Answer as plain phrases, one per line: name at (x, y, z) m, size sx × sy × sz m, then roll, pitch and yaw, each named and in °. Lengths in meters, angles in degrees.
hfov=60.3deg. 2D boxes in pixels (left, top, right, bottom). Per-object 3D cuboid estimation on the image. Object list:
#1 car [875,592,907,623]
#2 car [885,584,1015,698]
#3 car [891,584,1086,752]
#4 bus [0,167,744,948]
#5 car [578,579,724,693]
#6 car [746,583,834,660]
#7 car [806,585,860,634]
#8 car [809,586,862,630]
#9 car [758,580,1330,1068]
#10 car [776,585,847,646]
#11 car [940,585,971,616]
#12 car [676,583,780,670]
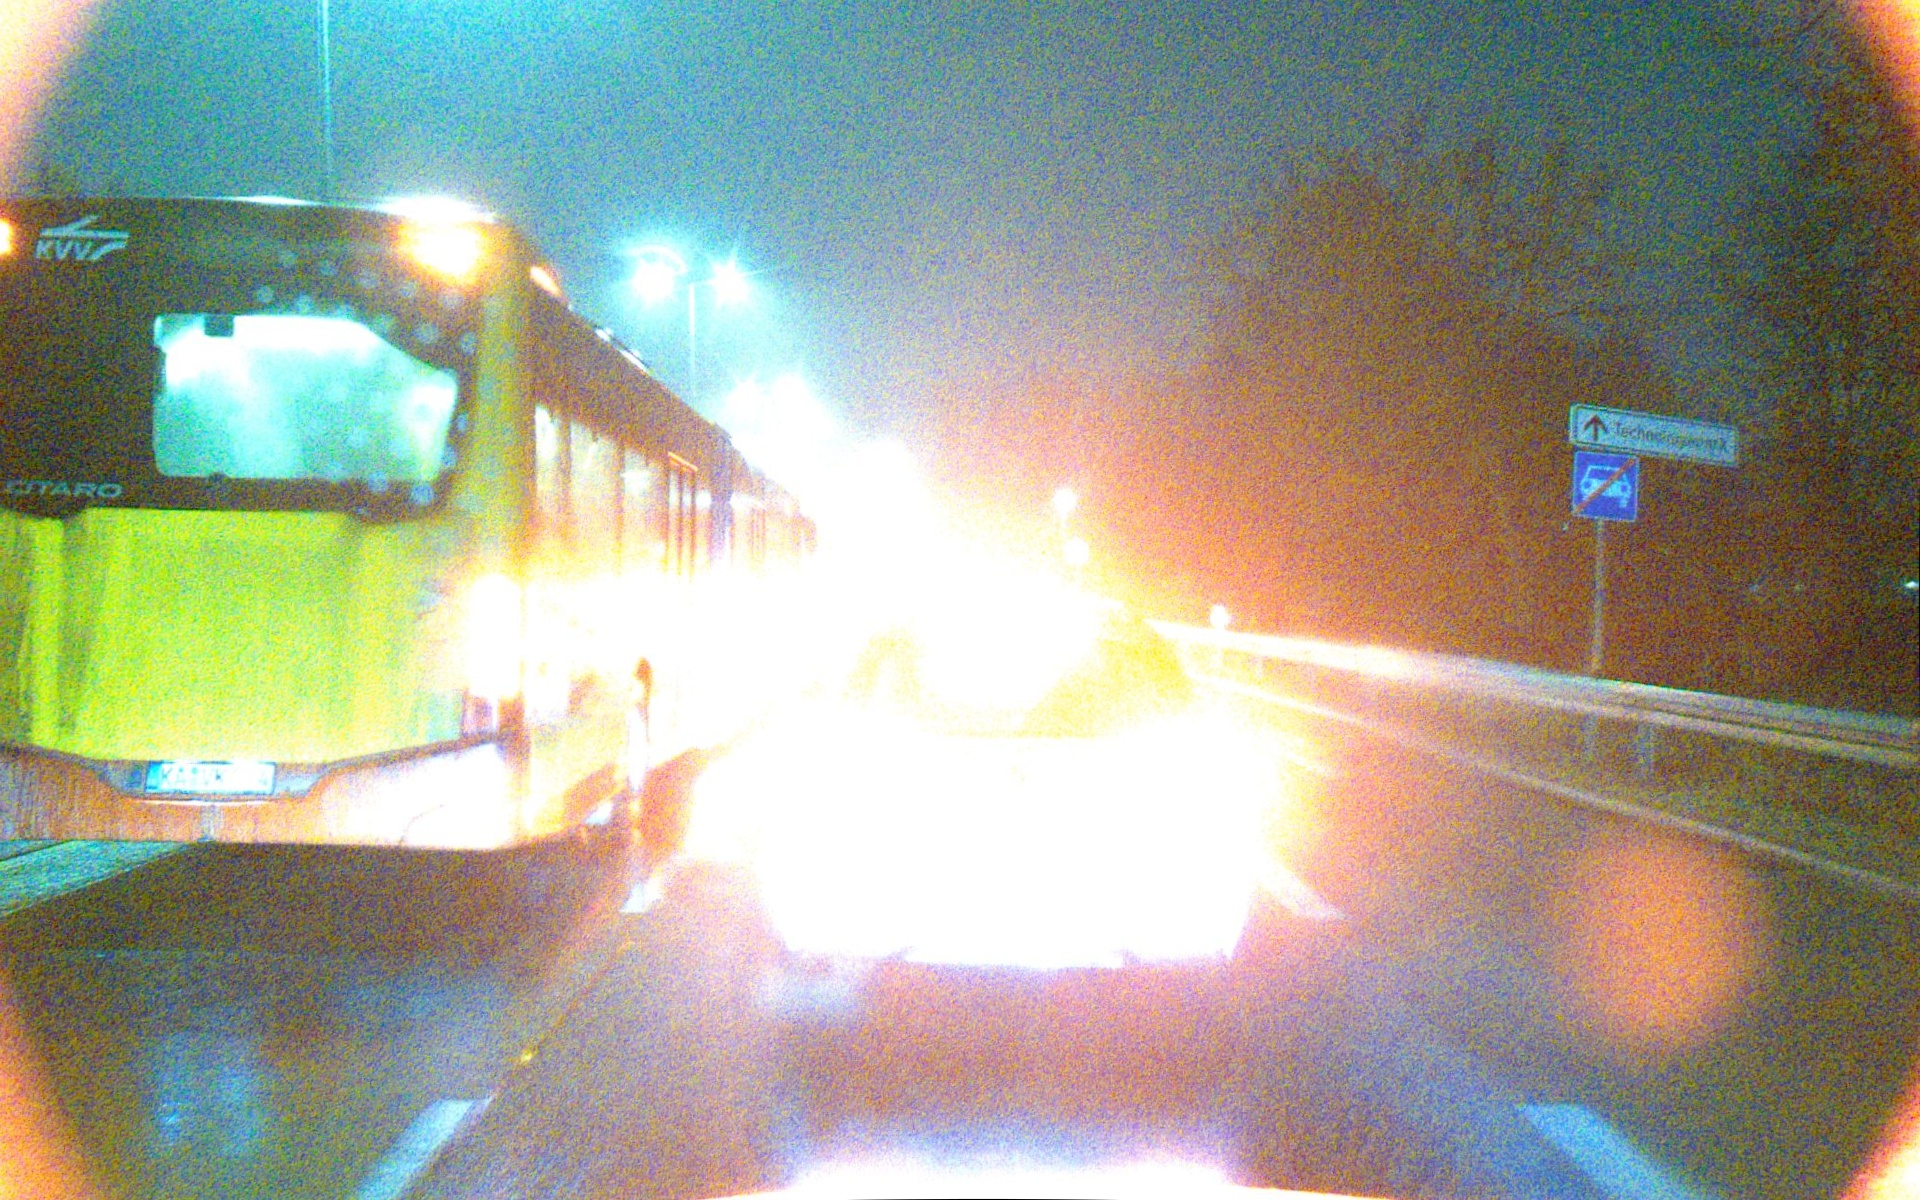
car at (-4.167, 0.445, 100.310) m, size 1.779 × 1.829 × 3.802 m, roll 1°, pitch 0°, yaw -1°
car at (-0.222, 0.569, 25.244) m, size 1.705 × 1.592 × 3.773 m, roll 1°, pitch 0°, yaw -4°
car at (0.162, 0.594, 17.100) m, size 1.697 × 1.474 × 4.722 m, roll 1°, pitch 0°, yaw -3°
bus at (-3.193, -0.190, 10.901) m, size 2.759 × 3.077 × 8.683 m, roll 0°, pitch 0°, yaw -3°
car at (-4.588, 0.491, 25.045) m, size 1.744 × 1.570 × 3.871 m, roll 1°, pitch 0°, yaw -4°
car at (-3.675, 0.433, 36.244) m, size 1.744 × 1.570 × 3.872 m, roll 1°, pitch 0°, yaw -3°
car at (-4.292, 0.301, 55.967) m, size 1.744 × 1.570 × 3.871 m, roll 1°, pitch 0°, yaw -4°
car at (-4.593, 0.290, 61.636) m, size 1.743 × 1.570 × 3.874 m, roll 1°, pitch 0°, yaw -1°
car at (0.171, 0.683, 7.446) m, size 1.785 × 1.510 × 4.565 m, roll 0°, pitch 0°, yaw -3°
car at (-3.976, 0.387, 44.722) m, size 1.744 × 1.570 × 3.872 m, roll 1°, pitch 0°, yaw -3°
car at (-0.320, 0.026, 105.940) m, size 1.913 × 1.915 × 3.999 m, roll 1°, pitch 0°, yaw -1°
car at (-4.448, 0.471, 32.117) m, size 1.744 × 1.570 × 3.871 m, roll 1°, pitch 0°, yaw -4°
